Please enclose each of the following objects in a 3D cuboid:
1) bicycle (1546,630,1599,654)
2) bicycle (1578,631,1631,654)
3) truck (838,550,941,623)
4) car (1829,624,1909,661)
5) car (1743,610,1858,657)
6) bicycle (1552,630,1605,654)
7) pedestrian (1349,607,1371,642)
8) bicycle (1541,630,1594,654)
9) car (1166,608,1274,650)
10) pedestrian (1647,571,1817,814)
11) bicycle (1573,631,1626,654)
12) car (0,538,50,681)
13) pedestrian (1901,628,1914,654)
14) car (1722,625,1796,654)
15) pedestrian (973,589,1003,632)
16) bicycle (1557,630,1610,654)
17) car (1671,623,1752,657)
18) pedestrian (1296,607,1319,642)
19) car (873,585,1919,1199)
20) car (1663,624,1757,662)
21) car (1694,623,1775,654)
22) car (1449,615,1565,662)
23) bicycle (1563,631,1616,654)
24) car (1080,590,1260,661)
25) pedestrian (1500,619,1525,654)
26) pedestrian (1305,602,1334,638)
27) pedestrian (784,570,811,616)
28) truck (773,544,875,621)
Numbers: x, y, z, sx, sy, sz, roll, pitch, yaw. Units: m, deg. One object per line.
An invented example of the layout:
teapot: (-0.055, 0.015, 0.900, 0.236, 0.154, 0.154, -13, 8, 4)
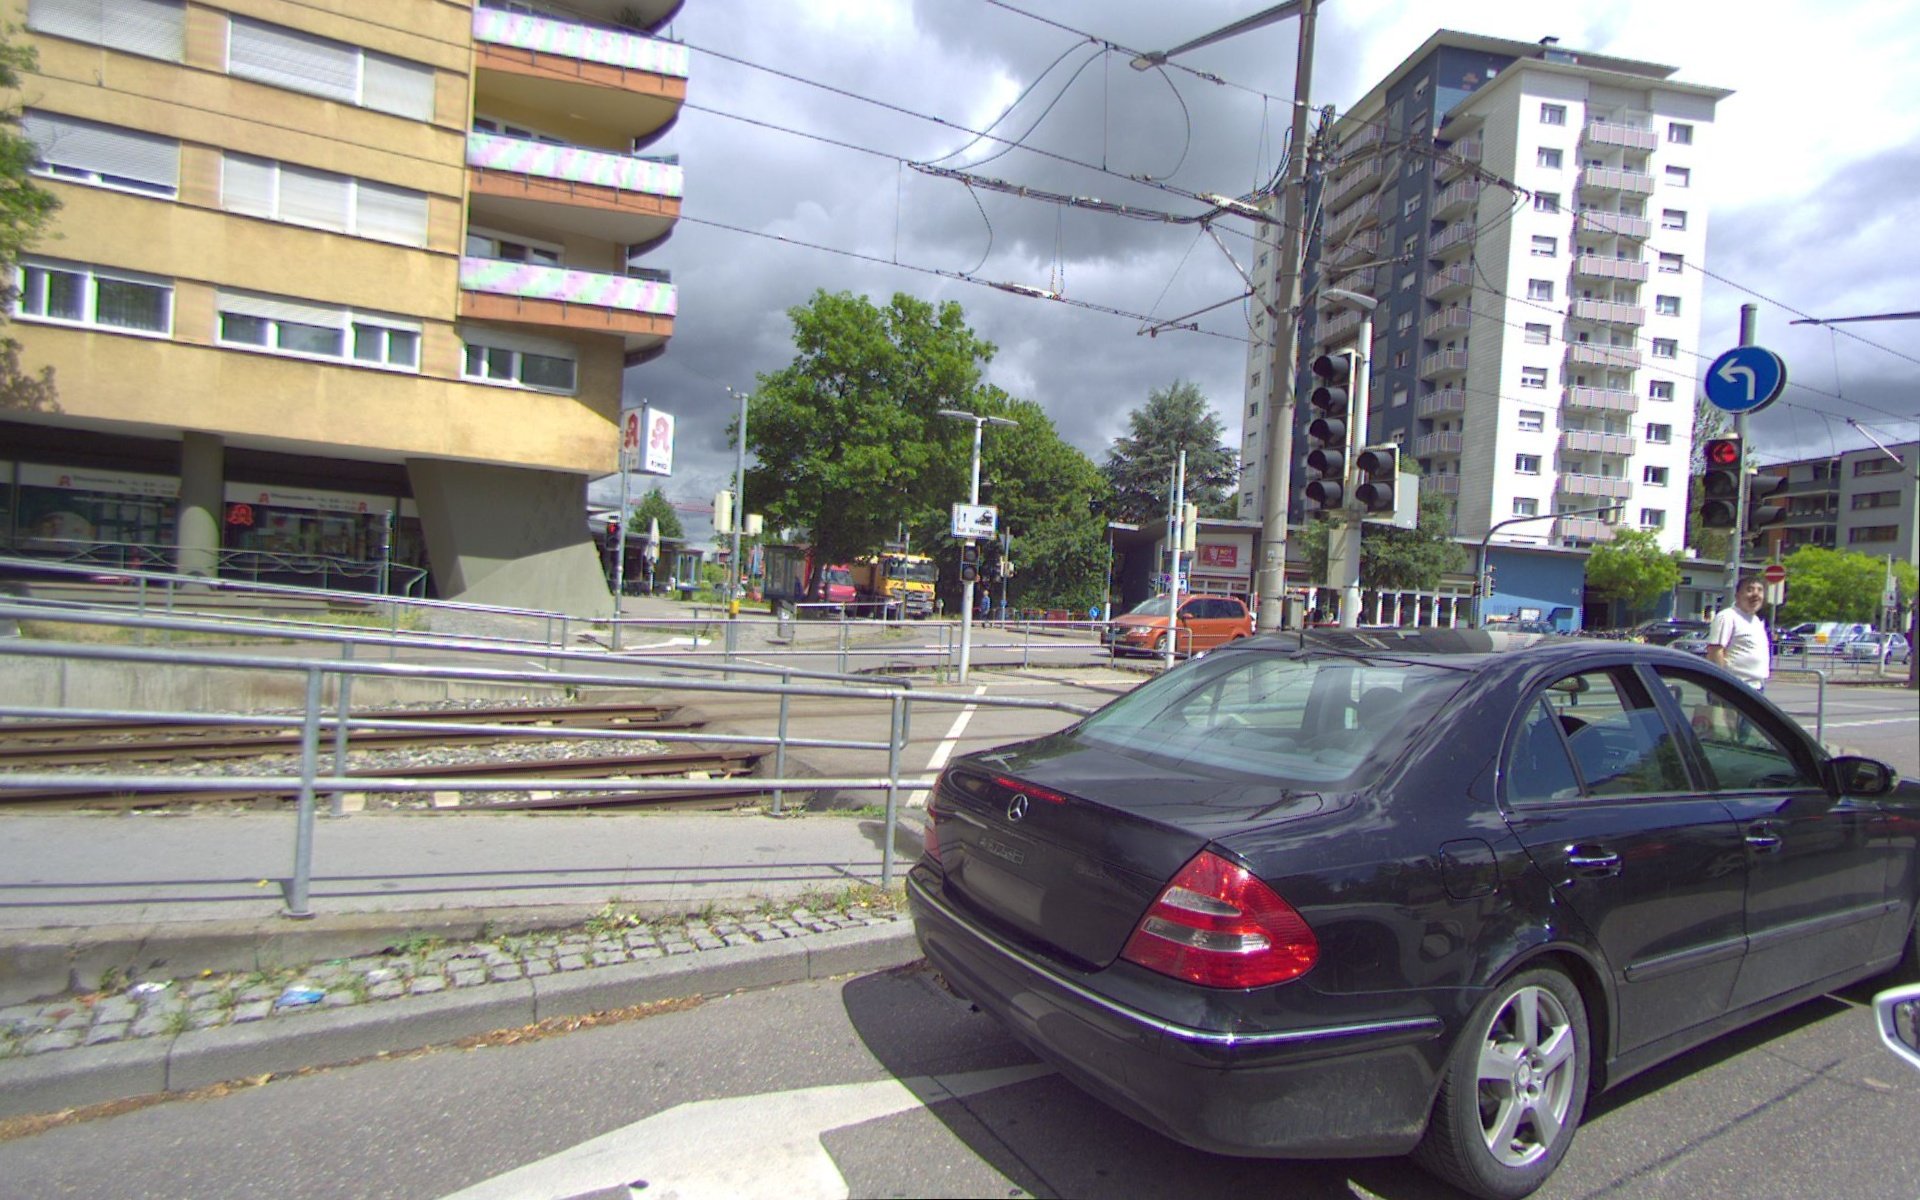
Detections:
bicycle: (26.638, 1.822, 43.690, 0.490, 0.947, 1.934, 2, 0, -35)
bicycle: (28.875, 1.898, 45.015, 0.490, 0.947, 1.934, 2, 0, -35)
truck: (-3.597, -0.623, 49.203, 2.733, 3.244, 7.443, 1, 0, -23)
car: (46.419, 2.159, 51.292, 3.827, 1.715, 1.928, 2, 0, -30)
car: (49.797, 1.891, 59.761, 2.776, 2.512, 6.724, 2, 0, 17)
bicycle: (27.049, 1.837, 43.979, 0.490, 0.947, 1.934, 2, 0, -35)
pedestrian: (19.370, 1.179, 48.656, 0.693, 1.637, 0.760, 1, 1, -43)
bicycle: (26.222, 1.808, 43.380, 0.490, 0.947, 1.934, 2, 0, -35)
car: (10.281, 1.128, 39.700, 3.922, 1.416, 1.698, 2, 0, 22)
pedestrian: (6.238, 0.696, 8.136, 0.734, 1.832, 0.863, 1, 1, -33)
bicycle: (28.450, 1.884, 44.738, 0.490, 0.947, 1.934, 2, 0, -35)
car: (-14.710, 0.086, 12.619, 4.456, 1.825, 1.985, 1, -1, -30)
pedestrian: (66.963, 2.895, 70.981, 0.401, 1.739, 0.542, 1, 1, -39)
car: (45.454, 2.237, 57.213, 1.754, 1.439, 4.219, 2, 0, 16)
pedestrian: (1.156, 0.419, 41.185, 0.773, 1.636, 0.758, 6, 2, -35)
bicycle: (27.435, 1.850, 44.251, 0.490, 0.947, 1.934, 2, 0, -35)
car: (40.141, 2.108, 53.768, 1.921, 1.591, 4.220, 2, 0, 13)
pedestrian: (16.871, 1.194, 48.709, 0.692, 1.637, 0.761, 1, 1, -37)
car: (2.080, 0.759, 3.806, 4.490, 1.481, 1.720, 2, 0, -30)
car: (30.871, 1.771, 41.323, 4.445, 1.418, 1.625, 2, 0, -33)
car: (42.813, 2.097, 55.641, 1.921, 1.558, 4.220, 2, 0, 13)
car: (18.639, 1.329, 34.187, 4.208, 1.432, 1.620, 3, -1, -33)
bicycle: (27.898, 1.866, 44.528, 0.490, 0.947, 1.934, 2, 0, -35)
car: (5.374, 0.646, 25.496, 4.415, 1.656, 1.981, 1, -1, -35)
pedestrian: (27.429, 1.798, 49.885, 0.932, 1.681, 1.095, 1, -1, 37)
pedestrian: (19.840, 1.100, 55.422, 1.200, 1.942, 0.860, 1, 1, -30)
pedestrian: (-6.074, -0.263, 37.581, 0.770, 1.638, 0.759, -1, 5, -29)
truck: (-6.756, -0.815, 48.718, 2.692, 3.320, 8.877, 1, 0, -22)
